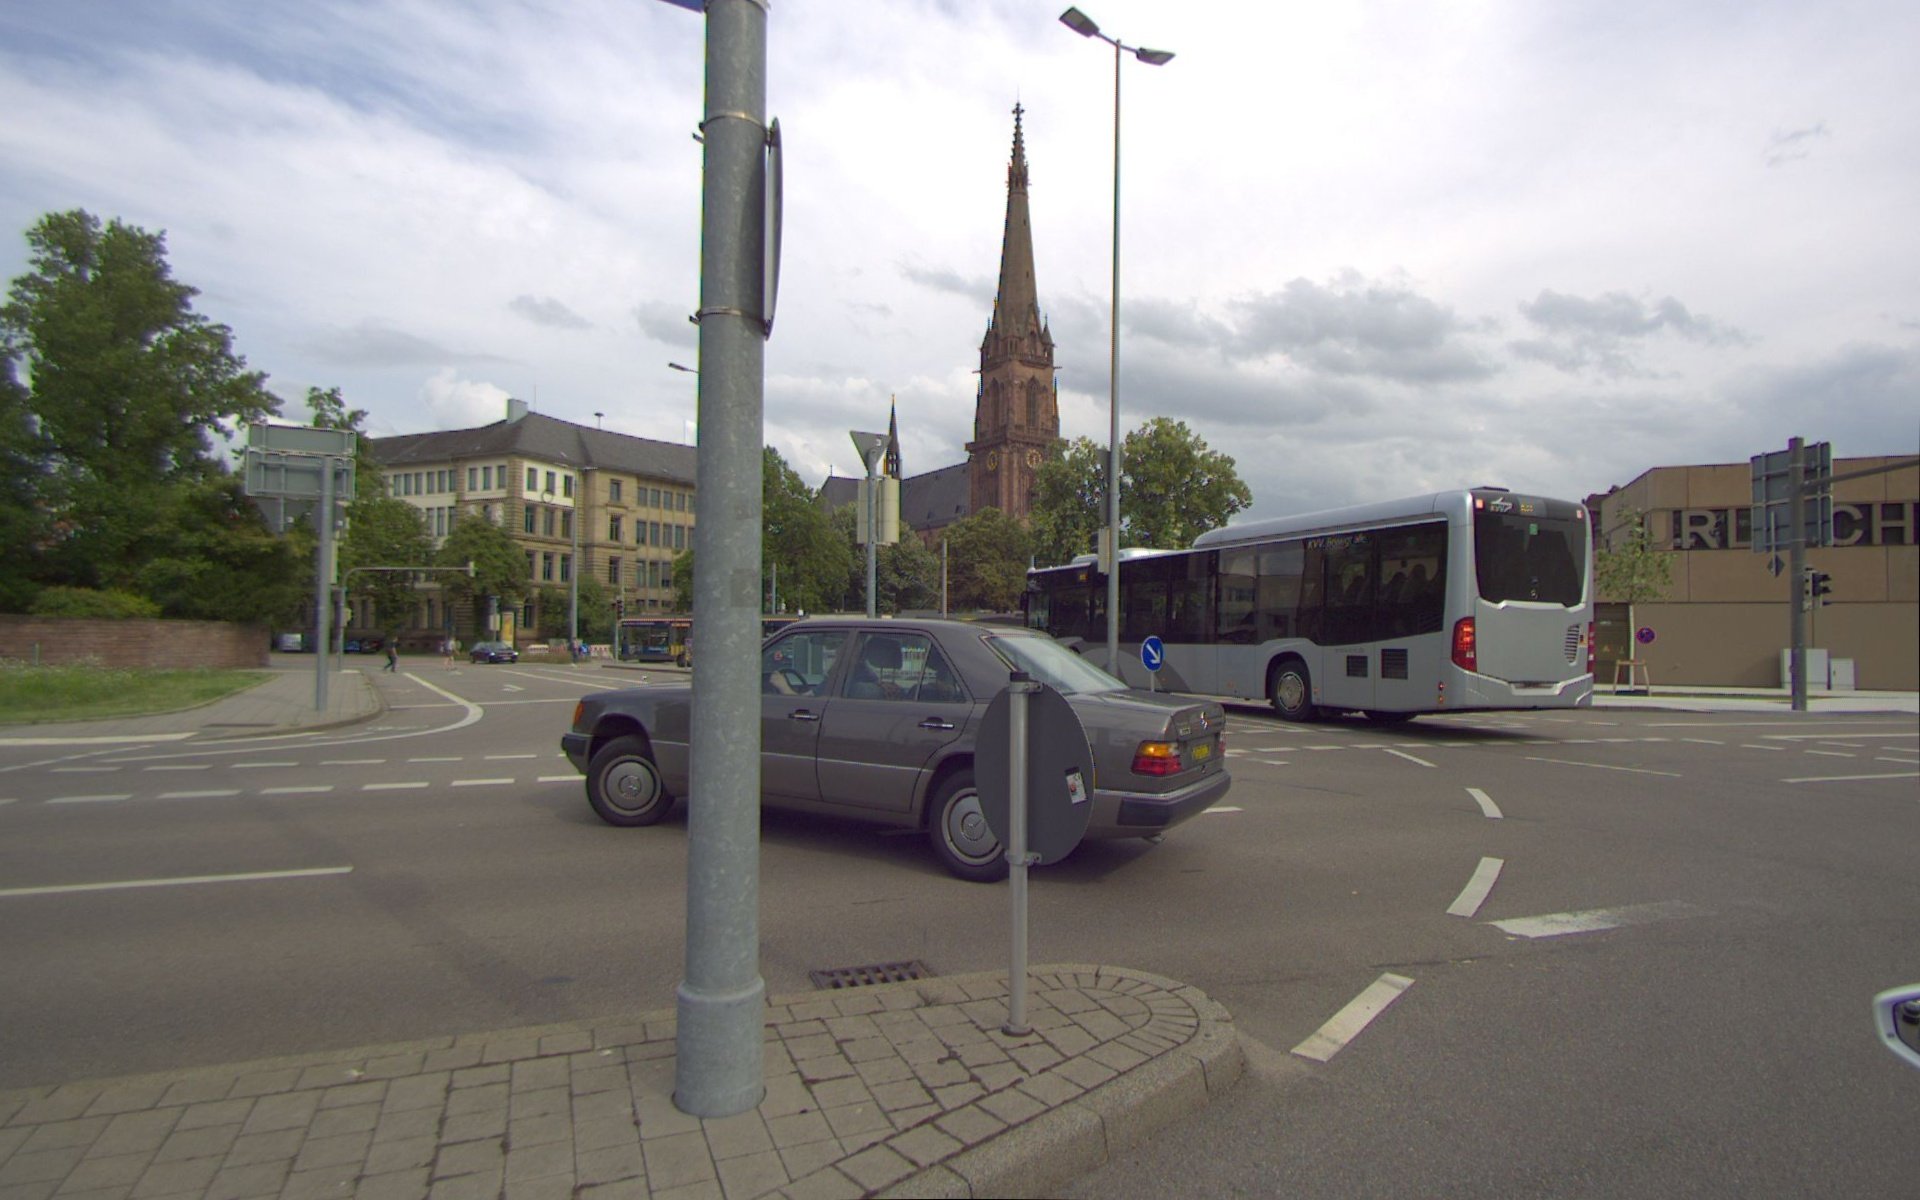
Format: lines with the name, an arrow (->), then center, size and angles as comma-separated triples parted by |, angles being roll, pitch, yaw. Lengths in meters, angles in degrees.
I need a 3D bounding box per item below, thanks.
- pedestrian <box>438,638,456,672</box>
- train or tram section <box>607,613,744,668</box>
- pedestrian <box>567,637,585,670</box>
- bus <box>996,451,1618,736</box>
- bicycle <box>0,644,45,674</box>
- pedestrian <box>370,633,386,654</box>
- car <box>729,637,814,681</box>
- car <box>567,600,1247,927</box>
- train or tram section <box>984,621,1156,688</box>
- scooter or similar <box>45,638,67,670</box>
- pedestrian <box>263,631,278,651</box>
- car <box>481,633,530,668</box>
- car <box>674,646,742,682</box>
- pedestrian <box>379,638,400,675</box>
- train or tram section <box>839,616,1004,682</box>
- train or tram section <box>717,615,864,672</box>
pedestrian -> -26.484, 2.829, 51.848 | 0.789, 1.734, 0.834 | 2, 0, -27
train or tram section -> -19.627, 2.708, 69.256 | 9.190, 3.321, 3.061 | 2, -1, 24
pedestrian -> -20.782, 2.907, 54.336 | 0.789, 1.734, 0.834 | 2, 0, -27
bus -> 4.807, 0.320, 19.333 | 2.674, 3.482, 14.113 | 2, -4, -22
bicycle -> -34.794, 2.148, 36.665 | 0.764, 1.018, 1.927 | 2, -1, 16
pedestrian -> -56.019, 4.196, 96.705 | 0.992, 2.040, 0.888 | -1, -2, 32
car -> -7.488, 2.300, 39.650 | 1.978, 1.506, 3.965 | 2, -1, -32
car -> -0.483, 0.822, 6.757 | 4.338, 1.500, 1.697 | 1, -1, 31
train or tram section -> 6.298, 3.047, 57.933 | 9.320, 3.289, 3.061 | 2, -1, 24
scooter or similar -> -34.596, 2.055, 38.443 | 0.516, 1.154, 1.499 | 2, -1, -45
pedestrian -> -71.032, 4.251, 103.534 | 0.992, 2.040, 0.888 | -1, -2, 32
car -> -29.928, 3.309, 66.103 | 1.983, 2.040, 3.956 | 2, -1, -38
car -> -11.785, 2.942, 46.801 | 1.977, 1.379, 4.239 | 2, -1, -30
pedestrian -> -27.570, 2.730, 48.556 | 0.789, 1.734, 0.834 | 2, 0, -27
train or tram section -> -2.418, 2.909, 61.758 | 9.739, 3.496, 3.061 | 2, -1, 24
train or tram section -> -11.110, 2.765, 65.640 | 9.249, 3.255, 3.061 | 2, -1, 24
